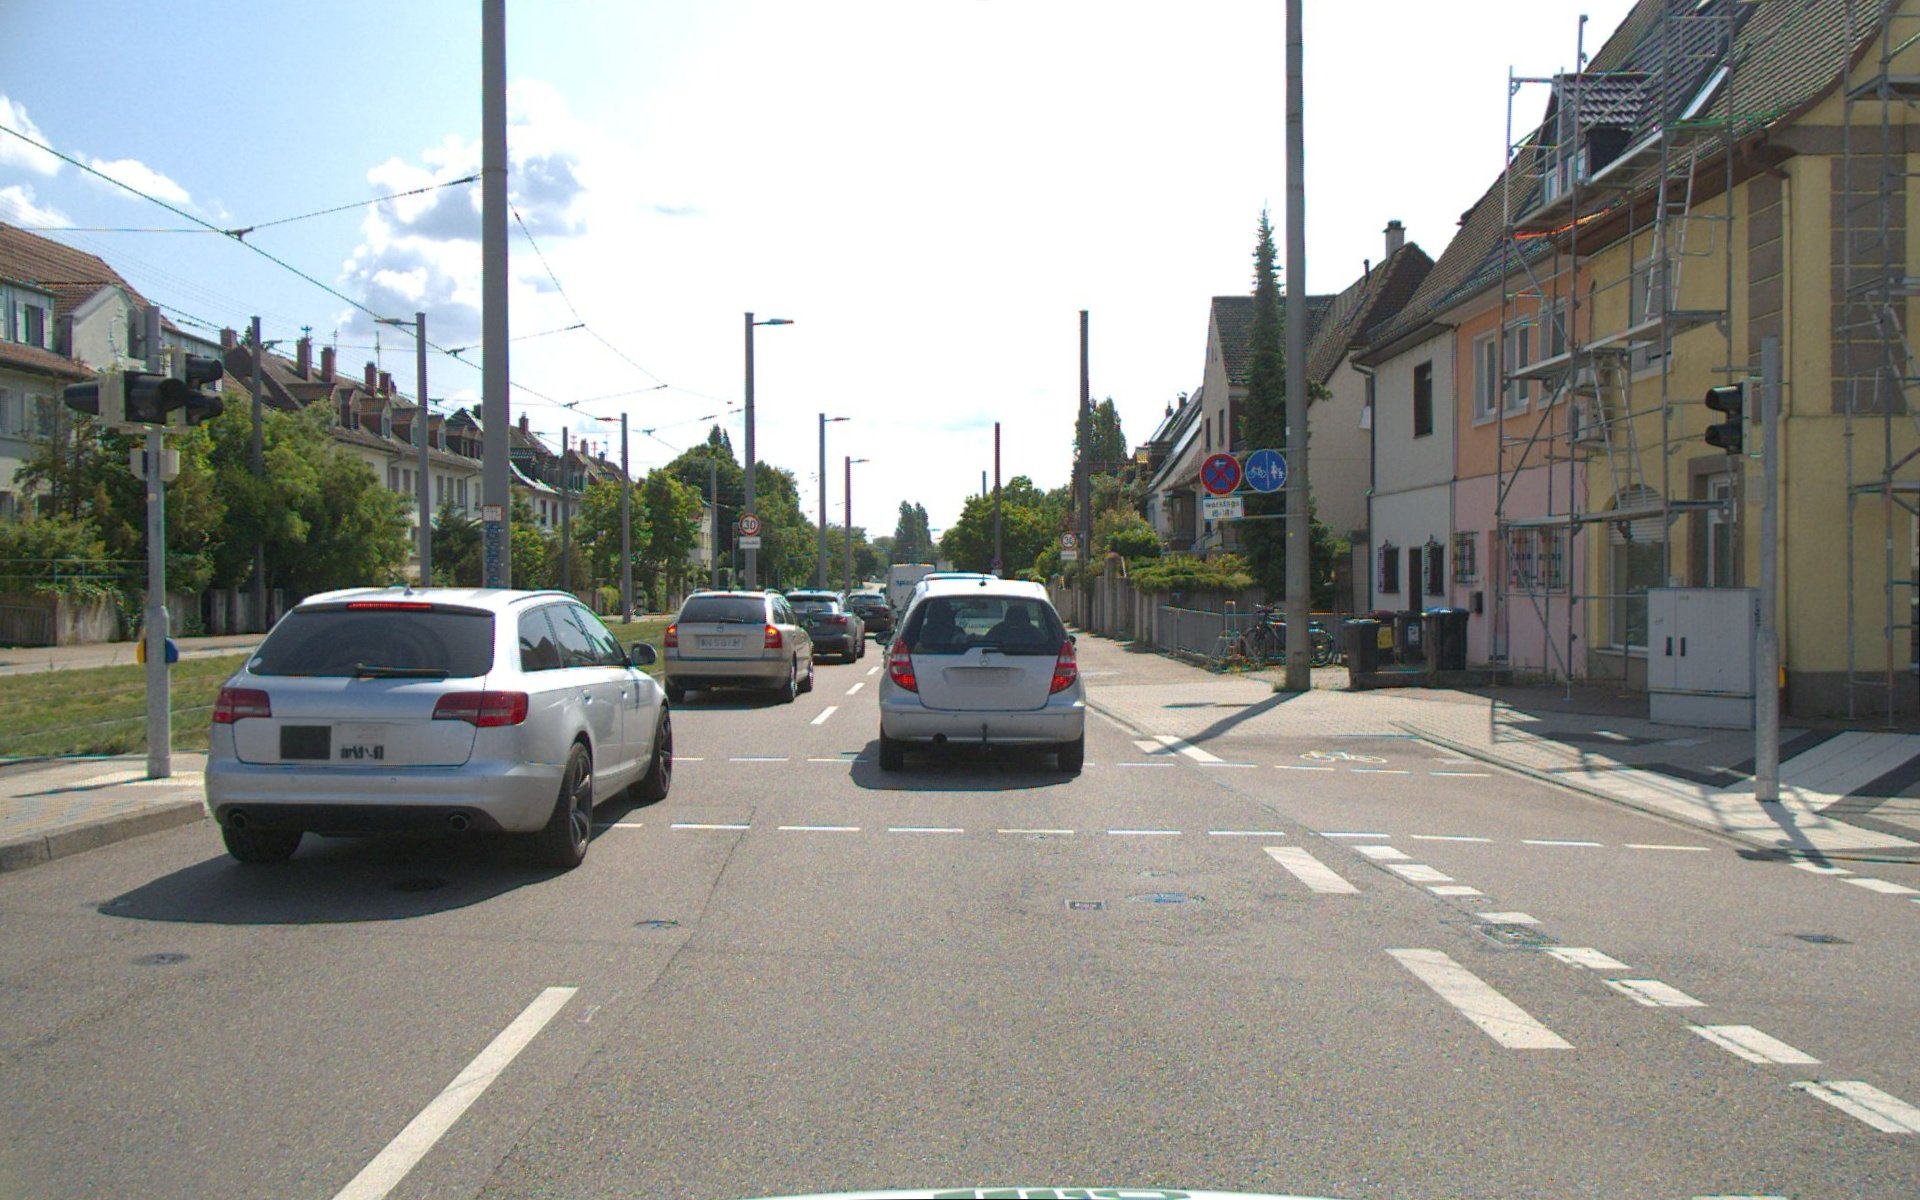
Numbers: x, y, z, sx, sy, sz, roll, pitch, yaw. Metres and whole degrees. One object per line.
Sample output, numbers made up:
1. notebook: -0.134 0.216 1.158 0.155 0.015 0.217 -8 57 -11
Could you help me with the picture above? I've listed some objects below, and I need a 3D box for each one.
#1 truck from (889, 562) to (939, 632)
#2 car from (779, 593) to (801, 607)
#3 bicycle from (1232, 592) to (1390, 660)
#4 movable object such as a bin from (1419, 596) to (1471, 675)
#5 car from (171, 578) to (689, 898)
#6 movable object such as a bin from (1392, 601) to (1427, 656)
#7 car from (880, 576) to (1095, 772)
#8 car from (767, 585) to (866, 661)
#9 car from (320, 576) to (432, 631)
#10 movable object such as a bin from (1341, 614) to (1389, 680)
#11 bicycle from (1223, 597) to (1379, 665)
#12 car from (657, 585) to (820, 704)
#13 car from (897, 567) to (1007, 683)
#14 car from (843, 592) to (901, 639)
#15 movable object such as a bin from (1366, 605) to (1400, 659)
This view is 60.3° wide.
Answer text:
1. truck: -1.847 -0.120 65.460 1.815 2.597 5.852 1 0 -2
2. car: -19.218 -0.060 186.759 1.877 1.503 4.563 1 0 1
3. bicycle: 6.180 0.450 29.233 2.607 1.124 0.786 -1 0 -1
4. movable object such as a bin: 7.008 0.505 23.913 0.501 1.124 0.855 0 0 0
5. car: -2.894 0.625 10.190 1.758 1.497 4.721 0 1 -1
6. movable object such as a bin: 8.049 0.512 29.616 0.458 0.963 0.558 -1 0 -1
7. car: 0.154 0.584 15.243 1.695 1.543 4.015 1 0 -2
8. car: -3.054 0.450 36.012 1.878 1.503 4.560 1 1 -2
9. car: -19.579 0.099 55.713 1.973 1.741 4.937 -1 0 0
10. movable object such as a bin: 5.823 0.670 23.793 0.501 0.934 0.741 0 0 0
11. bicycle: 6.166 0.554 29.987 2.671 1.139 0.691 -1 0 -1
12. car: -2.980 0.557 23.004 1.696 1.474 4.123 1 0 0
13. car: -0.138 0.380 28.014 1.694 1.793 4.016 1 0 0
14. car: -2.846 0.475 54.194 1.815 1.412 4.512 1 0 -2
15. movable object such as a bin: 7.568 0.569 29.623 0.458 0.963 0.558 0 0 -1
